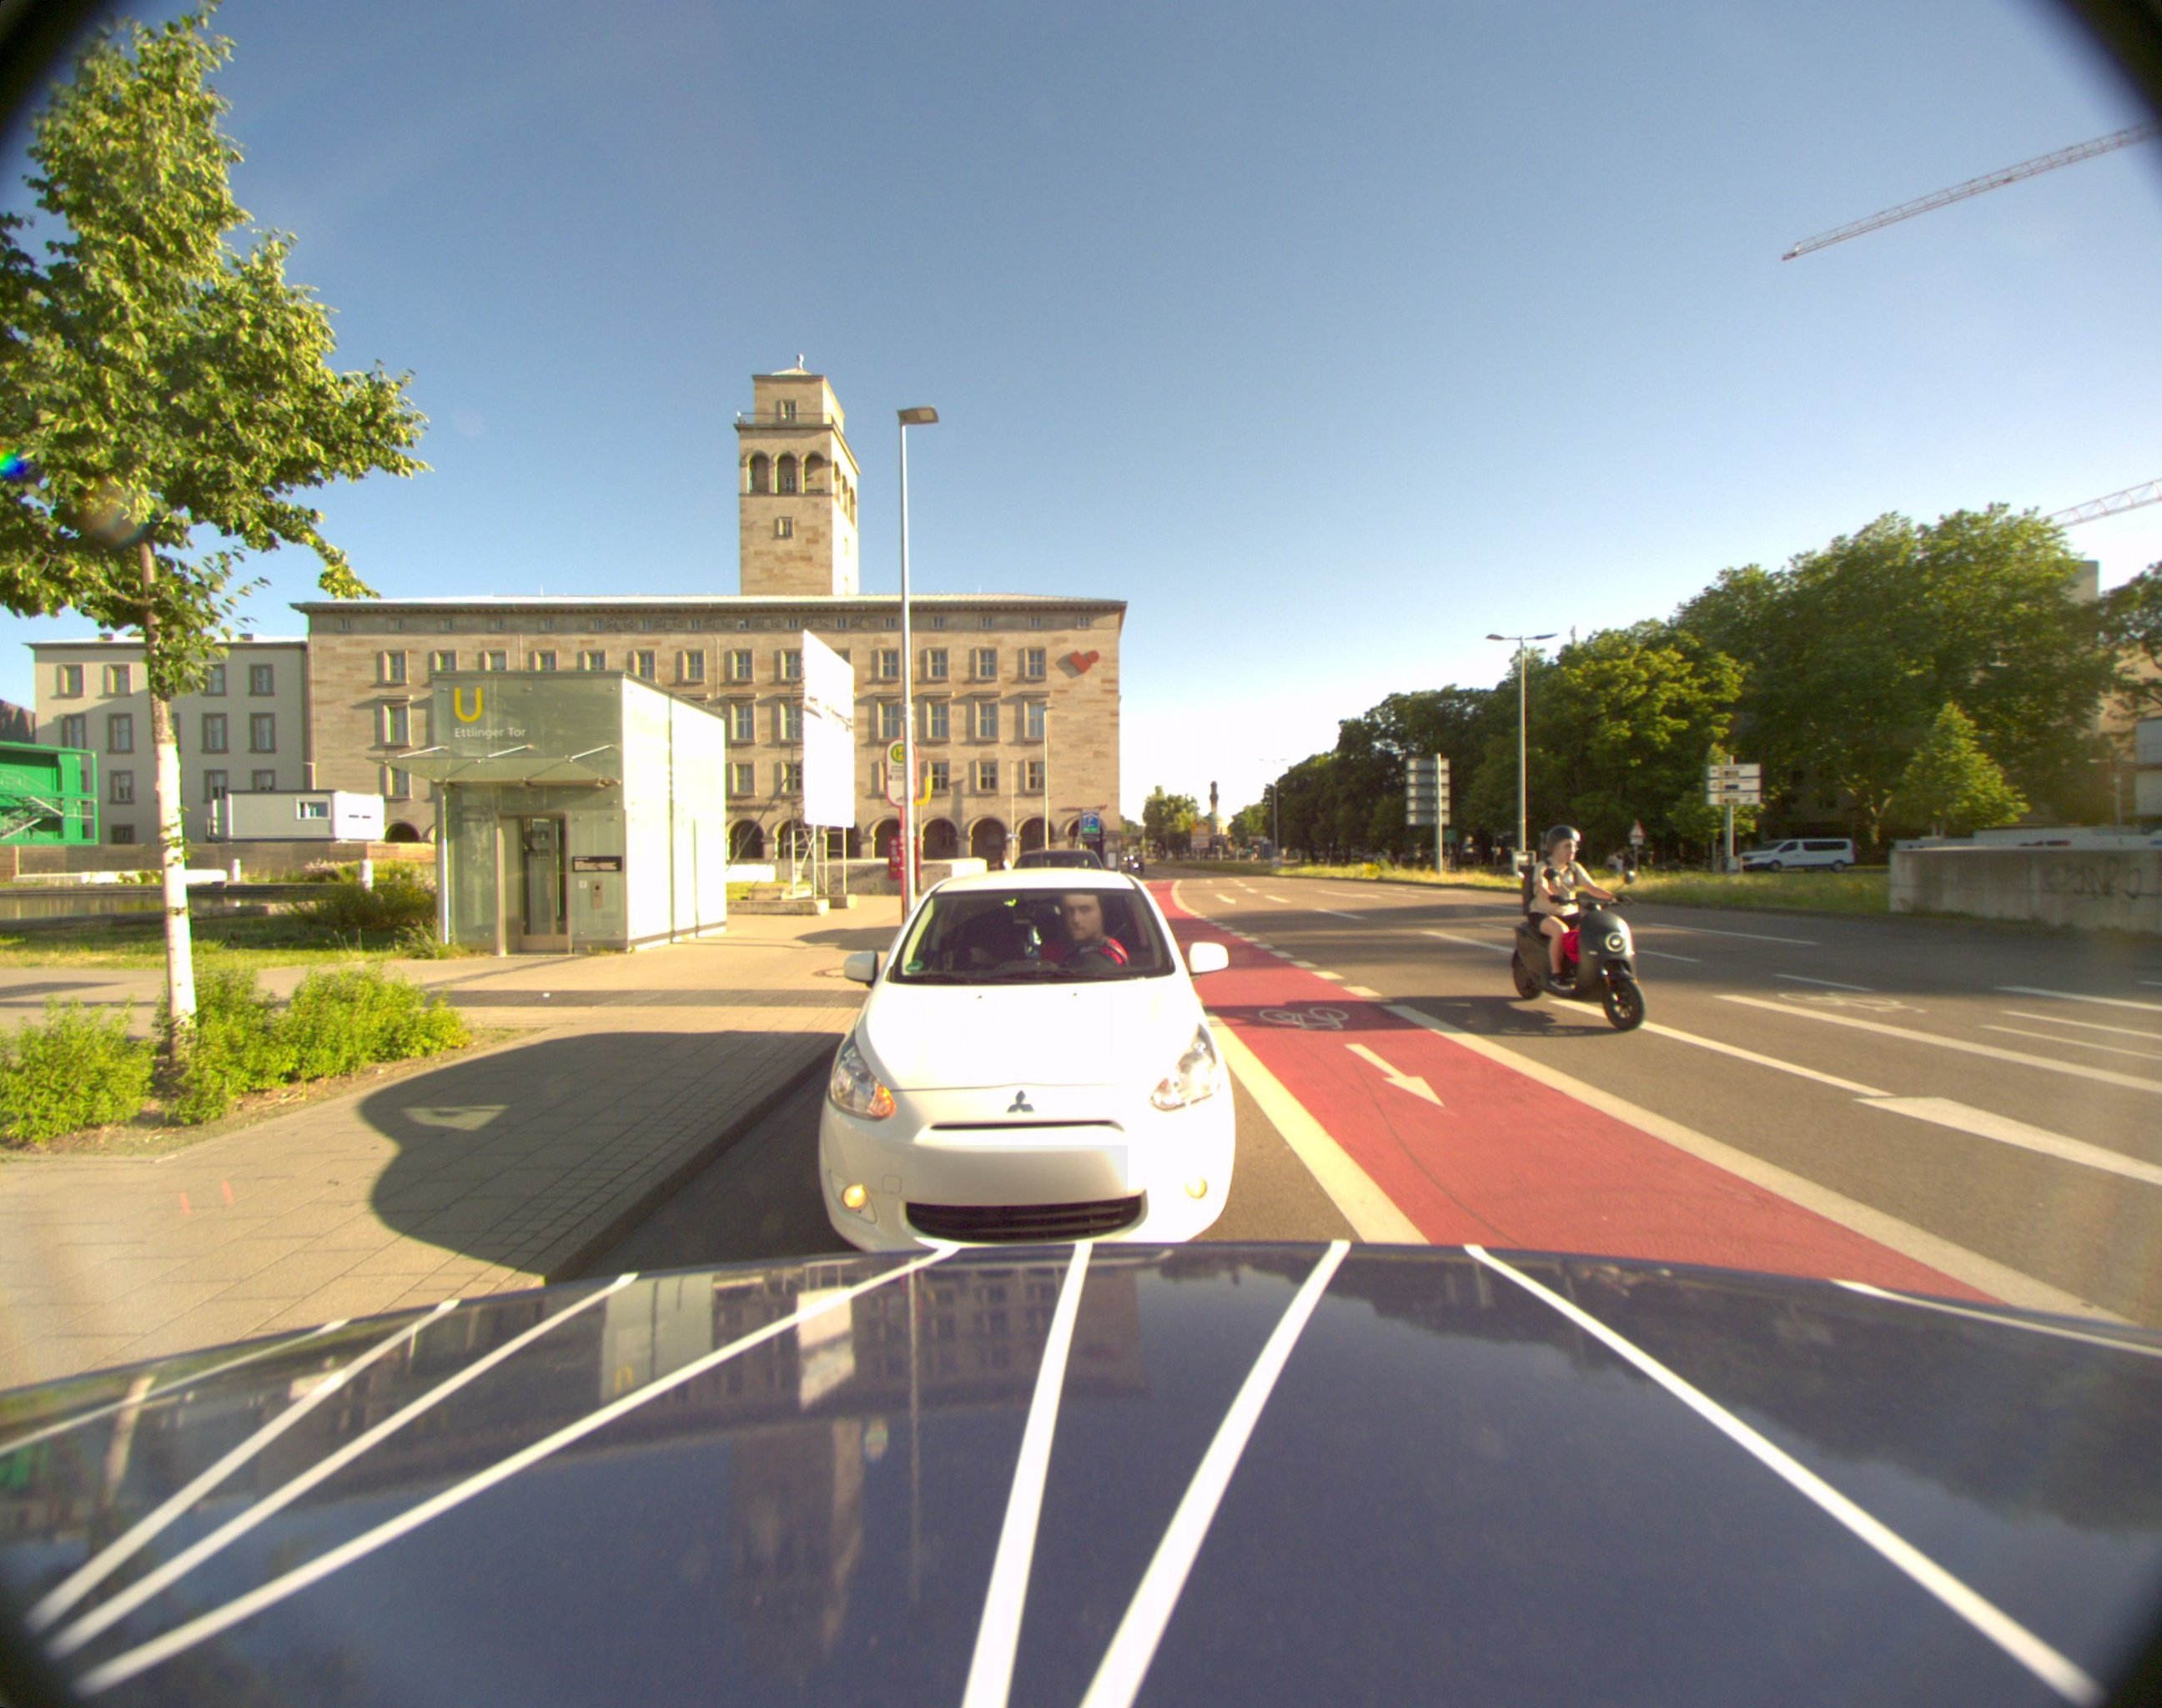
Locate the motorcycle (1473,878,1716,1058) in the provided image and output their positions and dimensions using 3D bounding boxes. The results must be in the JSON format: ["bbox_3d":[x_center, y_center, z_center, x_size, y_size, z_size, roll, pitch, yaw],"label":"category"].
[{"bbox_3d":[4.329,0.882,6.636,0.828,1.273,1.944,-1,0,1],"label":"motorcycle"}]

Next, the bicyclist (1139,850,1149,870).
[{"bbox_3d":[5.498,0.504,66.247,0.807,1.690,0.852,-1,1,1],"label":"bicyclist"}]

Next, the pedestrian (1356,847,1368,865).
[{"bbox_3d":[32.239,0.257,87.187,0.841,2.002,0.955,-3,1,-30],"label":"pedestrian"}]

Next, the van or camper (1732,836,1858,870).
[{"bbox_3d":[42.248,-0.053,45.059,5.499,1.934,1.951,-1,0,4],"label":"van or camper"}]

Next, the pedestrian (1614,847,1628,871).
[{"bbox_3d":[32.862,0.300,46.203,0.499,1.502,0.494,-1,1,1],"label":"pedestrian"}]

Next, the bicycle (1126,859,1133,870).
[{"bbox_3d":[5.006,1.082,78.318,0.689,1.185,1.506,-1,1,1],"label":"bicycle"}]

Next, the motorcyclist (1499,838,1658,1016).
[{"bbox_3d":[4.340,0.600,6.695,0.823,1.455,0.877,-1,1,1],"label":"motorcyclist"}]

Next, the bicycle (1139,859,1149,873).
[{"bbox_3d":[5.522,1.027,66.254,0.741,1.140,1.890,-1,0,1],"label":"bicycle"}]

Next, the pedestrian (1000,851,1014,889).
[{"bbox_3d":[-3.280,0.698,33.763,0.552,1.692,0.553,-1,1,-1],"label":"pedestrian"}]

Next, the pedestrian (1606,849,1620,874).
[{"bbox_3d":[32.213,0.478,46.010,0.499,1.502,0.494,-1,1,1],"label":"pedestrian"}]

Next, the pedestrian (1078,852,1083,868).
[{"bbox_3d":[-0.093,0.811,96.299,0.612,2.002,0.727,-2,1,0],"label":"pedestrian"}]

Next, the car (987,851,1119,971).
[{"bbox_3d":[-0.368,0.795,12.704,1.833,1.660,4.000,-1,0,1],"label":"car"}]

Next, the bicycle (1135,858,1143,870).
[{"bbox_3d":[5.963,1.038,78.110,0.689,1.185,1.506,-1,1,1],"label":"bicycle"}]

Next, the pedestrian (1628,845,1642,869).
[{"bbox_3d":[33.749,0.180,46.302,0.499,1.502,0.494,-1,1,1],"label":"pedestrian"}]

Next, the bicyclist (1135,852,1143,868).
[{"bbox_3d":[5.961,0.593,78.013,0.674,1.649,0.877,-1,1,1],"label":"bicyclist"}]

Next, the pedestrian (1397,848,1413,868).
[{"bbox_3d":[32.525,0.405,76.305,0.951,1.952,1.058,-2,1,-14],"label":"pedestrian"}]

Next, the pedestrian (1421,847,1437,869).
[{"bbox_3d":[32.606,0.361,71.170,1.126,1.952,0.815,-2,1,1],"label":"pedestrian"}]

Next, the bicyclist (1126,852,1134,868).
[{"bbox_3d":[5.032,0.617,78.223,0.823,1.568,0.877,-1,1,1],"label":"bicyclist"}]

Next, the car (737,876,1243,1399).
[{"bbox_3d":[-0.248,0.927,4.309,1.519,1.447,4.000,-1,0,1],"label":"car"}]
